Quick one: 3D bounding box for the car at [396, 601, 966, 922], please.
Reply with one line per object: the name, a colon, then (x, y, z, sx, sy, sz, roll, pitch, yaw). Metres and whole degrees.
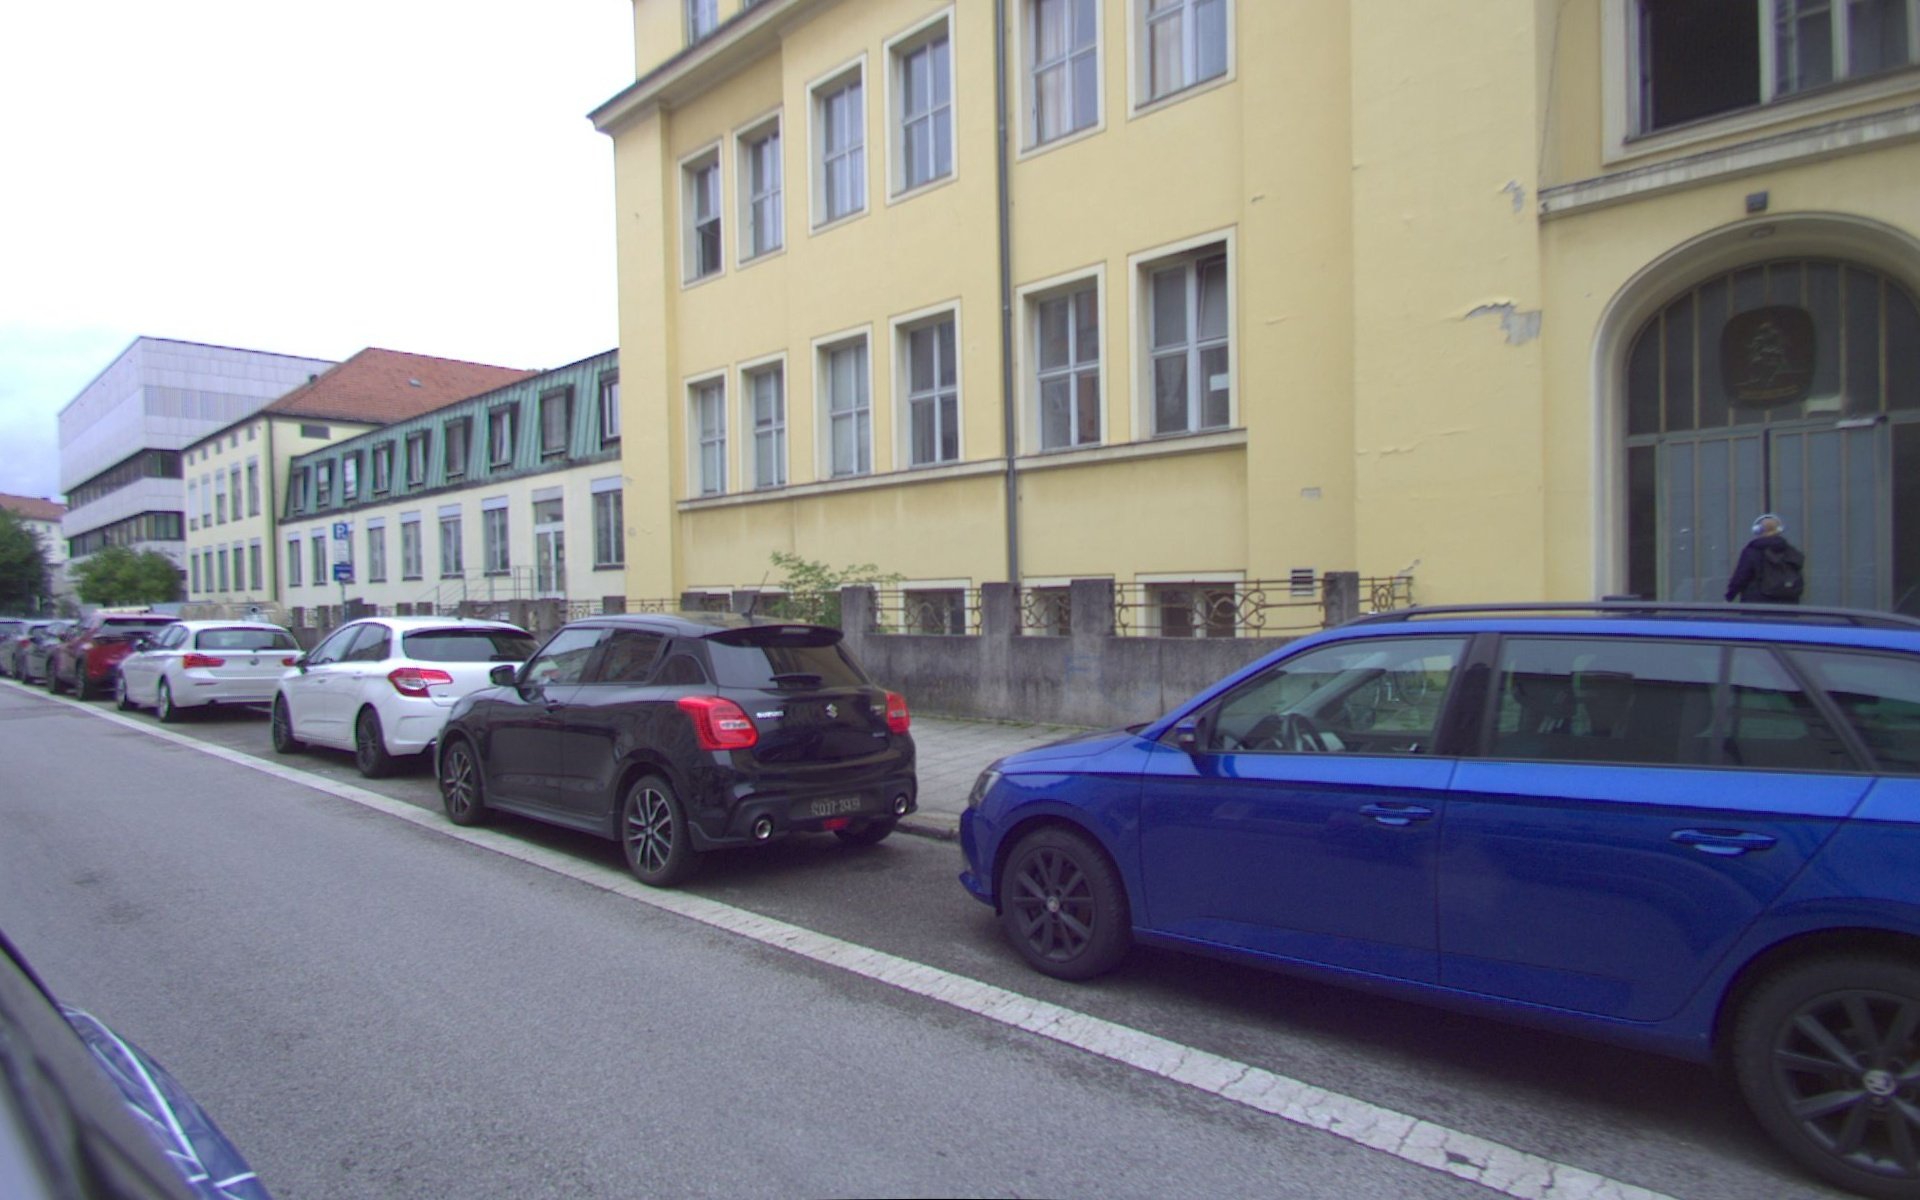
car: (-2.078, 0.814, 6.798, 4.147, 1.508, 1.681, -1, -3, 42)

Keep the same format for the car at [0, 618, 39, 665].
car: (-34.583, 1.492, 36.070, 4.347, 1.599, 1.895, -2, -4, 39)

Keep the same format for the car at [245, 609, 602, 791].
car: (-5.745, 0.850, 10.551, 4.650, 1.442, 1.766, -1, 1, 42)

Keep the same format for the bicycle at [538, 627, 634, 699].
bicycle: (-6.011, 0.985, 16.238, 1.635, 1.070, 0.570, -1, 1, 33)

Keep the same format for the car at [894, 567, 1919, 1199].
car: (1.983, 0.745, 3.686, 4.492, 1.514, 1.686, -1, -4, 40)

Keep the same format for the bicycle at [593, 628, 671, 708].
bicycle: (-4.872, 0.977, 14.962, 0.530, 1.070, 1.643, -2, 1, -38)

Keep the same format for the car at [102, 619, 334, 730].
car: (-11.464, 1.043, 15.517, 4.661, 1.440, 1.776, -1, -3, 40)

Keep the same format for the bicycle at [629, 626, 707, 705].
bicycle: (-4.429, 0.961, 15.272, 0.530, 1.070, 1.643, -2, 1, -38)

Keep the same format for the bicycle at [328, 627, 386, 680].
bicycle: (-14.011, 1.222, 23.479, 2.105, 1.156, 0.529, -1, 0, 42)

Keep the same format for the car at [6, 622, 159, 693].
car: (-19.329, 1.196, 22.237, 4.349, 1.415, 1.733, -1, -2, 38)

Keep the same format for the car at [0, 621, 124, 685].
car: (-23.028, 1.285, 25.657, 4.611, 1.429, 1.994, 0, -2, 40)

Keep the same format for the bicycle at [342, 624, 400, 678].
bicycle: (-13.909, 1.187, 23.863, 2.105, 1.194, 0.529, -1, 0, 42)

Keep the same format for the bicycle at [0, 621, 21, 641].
bicycle: (-57.069, 1.871, 60.144, 0.519, 1.160, 1.793, -1, 1, 39)

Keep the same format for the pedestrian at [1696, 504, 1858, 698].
pedestrian: (7.833, 0.005, 9.712, 1.041, 1.732, 0.907, -1, 0, -34)

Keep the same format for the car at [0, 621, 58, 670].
car: (-30.976, 1.465, 32.962, 4.530, 1.493, 1.893, -2, -3, 42)

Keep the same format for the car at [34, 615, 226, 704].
car: (-15.805, 1.043, 19.195, 4.524, 1.493, 1.938, -1, -2, 39)

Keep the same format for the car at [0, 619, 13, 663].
car: (-38.077, 1.545, 38.911, 4.345, 1.649, 1.861, -1, -3, 40)

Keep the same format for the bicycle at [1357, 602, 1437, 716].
bicycle: (4.464, 0.557, 10.287, 0.425, 1.058, 1.643, -1, 0, 34)
